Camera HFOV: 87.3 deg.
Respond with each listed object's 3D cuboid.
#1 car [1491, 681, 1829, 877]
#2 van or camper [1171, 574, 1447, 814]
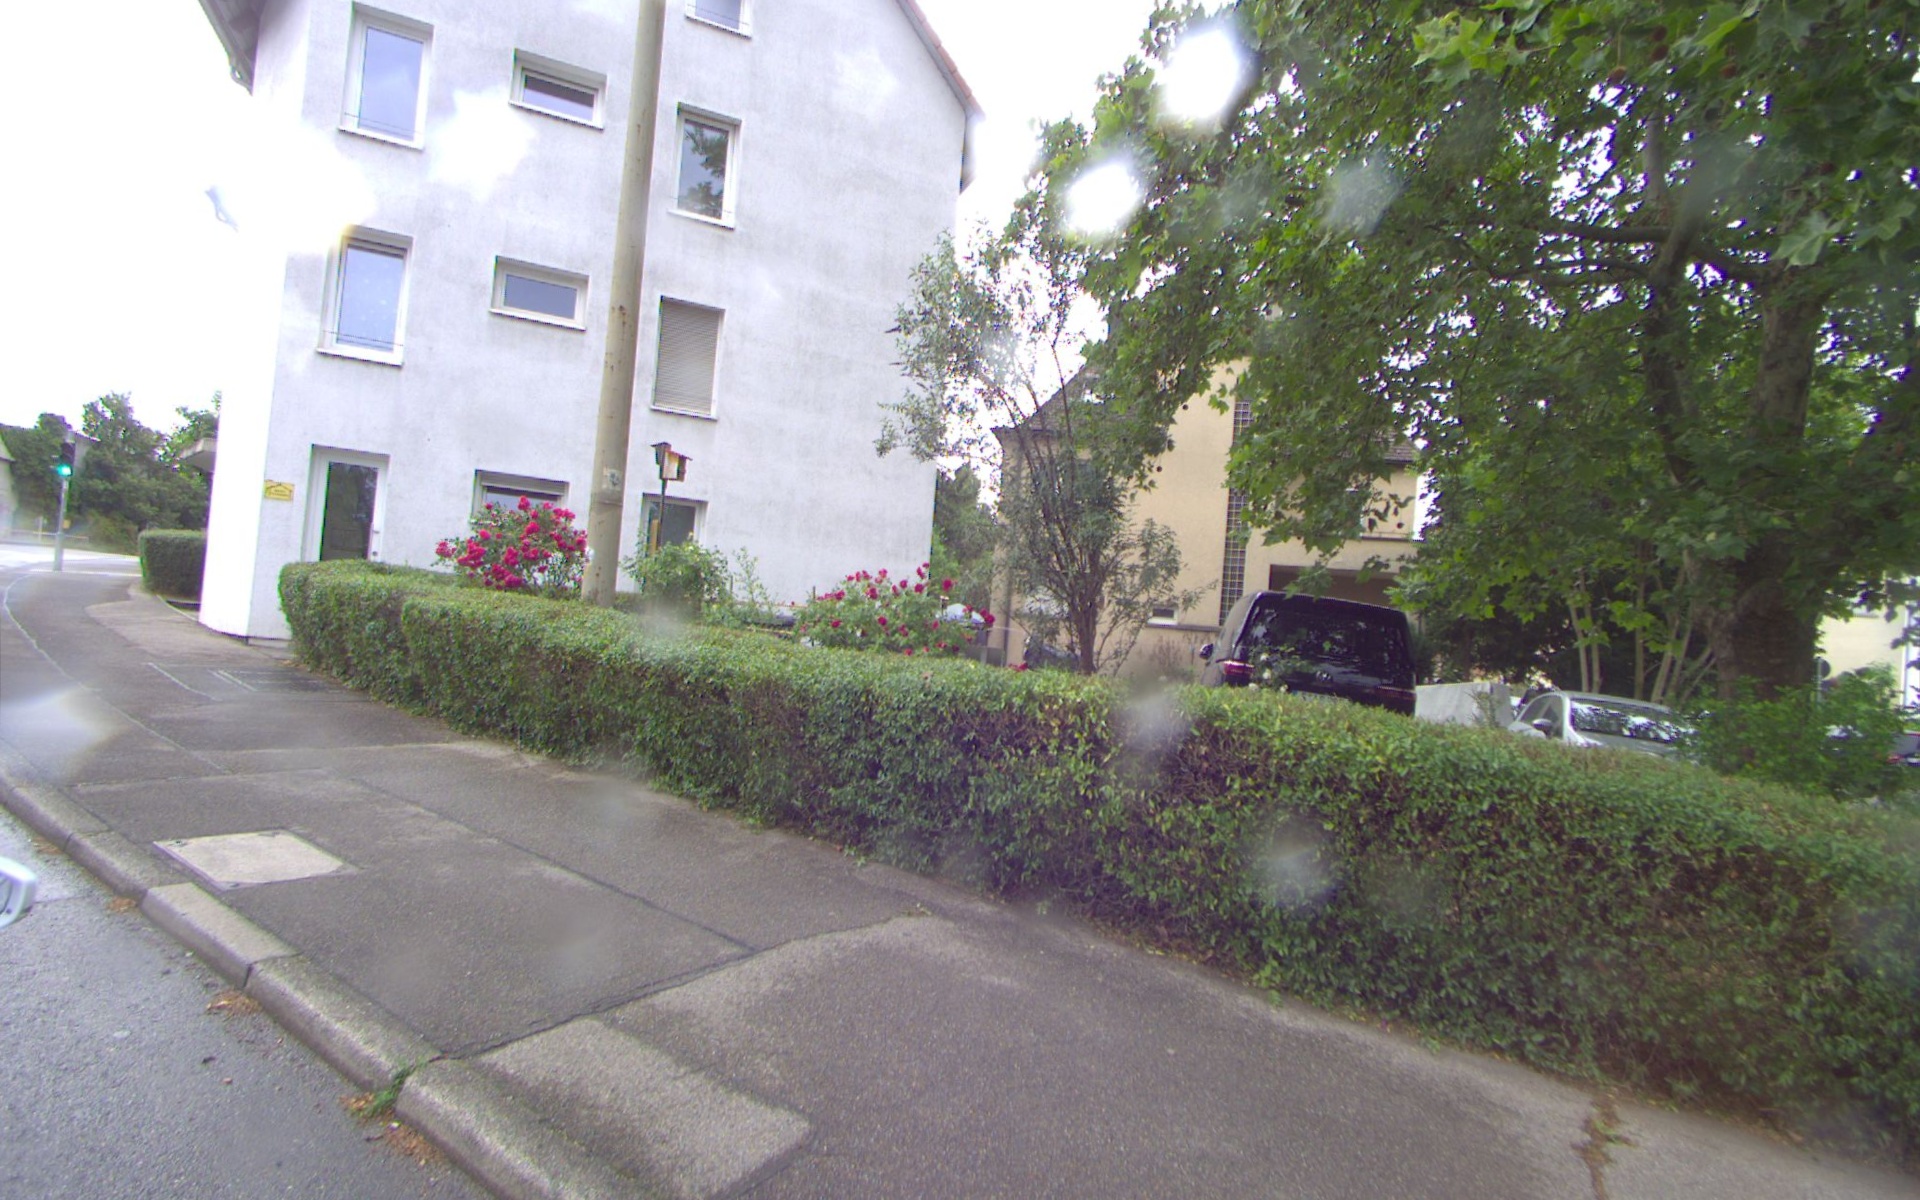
[{"bbox_3d":[7.401,1.774,11.172,1.963,1.481,4.002,6,-2,20],"label":"car"},{"bbox_3d":[3.587,0.941,11.228,1.962,1.926,4.333,7,-2,9],"label":"van or camper"}]
